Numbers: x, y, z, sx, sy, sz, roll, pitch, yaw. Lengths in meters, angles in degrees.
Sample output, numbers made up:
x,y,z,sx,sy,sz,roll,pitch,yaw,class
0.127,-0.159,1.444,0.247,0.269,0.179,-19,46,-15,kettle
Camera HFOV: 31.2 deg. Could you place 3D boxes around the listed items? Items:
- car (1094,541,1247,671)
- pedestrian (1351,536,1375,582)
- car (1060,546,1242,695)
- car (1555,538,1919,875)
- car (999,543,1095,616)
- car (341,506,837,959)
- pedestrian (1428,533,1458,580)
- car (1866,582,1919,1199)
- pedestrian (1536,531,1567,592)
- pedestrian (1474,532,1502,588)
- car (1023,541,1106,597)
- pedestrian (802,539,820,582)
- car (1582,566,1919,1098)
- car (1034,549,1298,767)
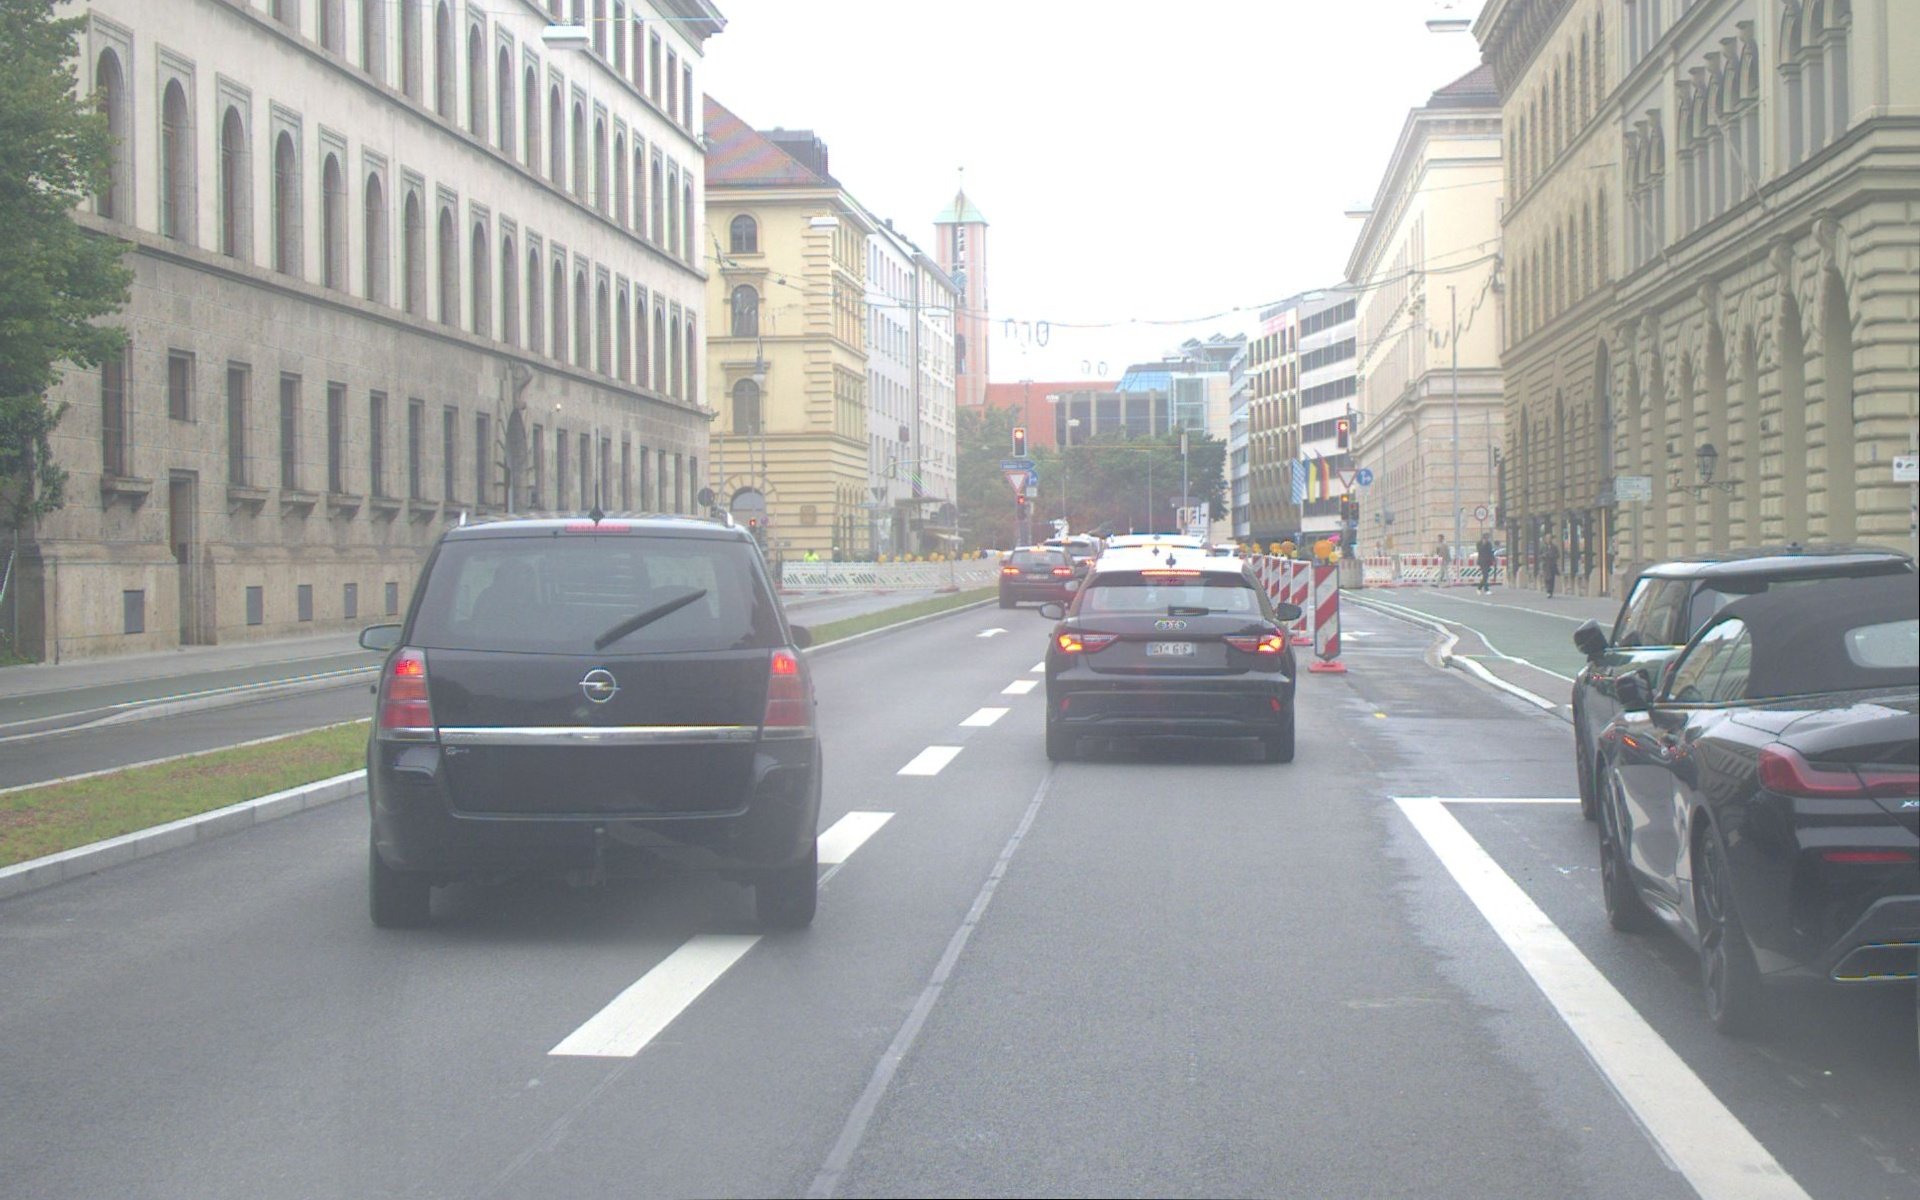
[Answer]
x,y,z,sx,sy,sz,roll,pitch,yaw,class
2.556,0.034,41.464,1.730,1.456,4.000,1,1,4,car
14.137,-1.447,120.622,0.752,1.612,0.712,0,1,12,pedestrian
1.983,0.165,35.172,1.730,1.398,4.000,1,1,4,car
4.066,0.454,17.625,1.675,1.515,3.829,1,1,5,car
2.031,-0.489,79.039,1.994,1.622,4.000,0,1,4,car
-1.651,0.434,14.354,1.764,1.610,4.031,0,1,-9,car
16.598,-1.484,118.087,0.710,1.612,0.754,-1,1,-25,pedestrian
2.818,0.682,5.162,1.809,1.475,4.462,-4,1,3,car
15.801,-1.027,91.837,0.710,1.612,0.754,0,1,4,pedestrian
15.286,-1.153,99.506,0.710,1.612,0.754,0,1,4,pedestrian
2.797,-0.832,91.281,1.994,1.439,4.000,0,1,4,car
-6.359,-1.694,146.885,0.656,1.799,0.727,0,1,4,pedestrian
3.258,0.618,11.679,1.826,1.402,4.719,1,1,5,car
1.505,0.353,24.818,1.730,1.398,4.000,1,1,4,car
